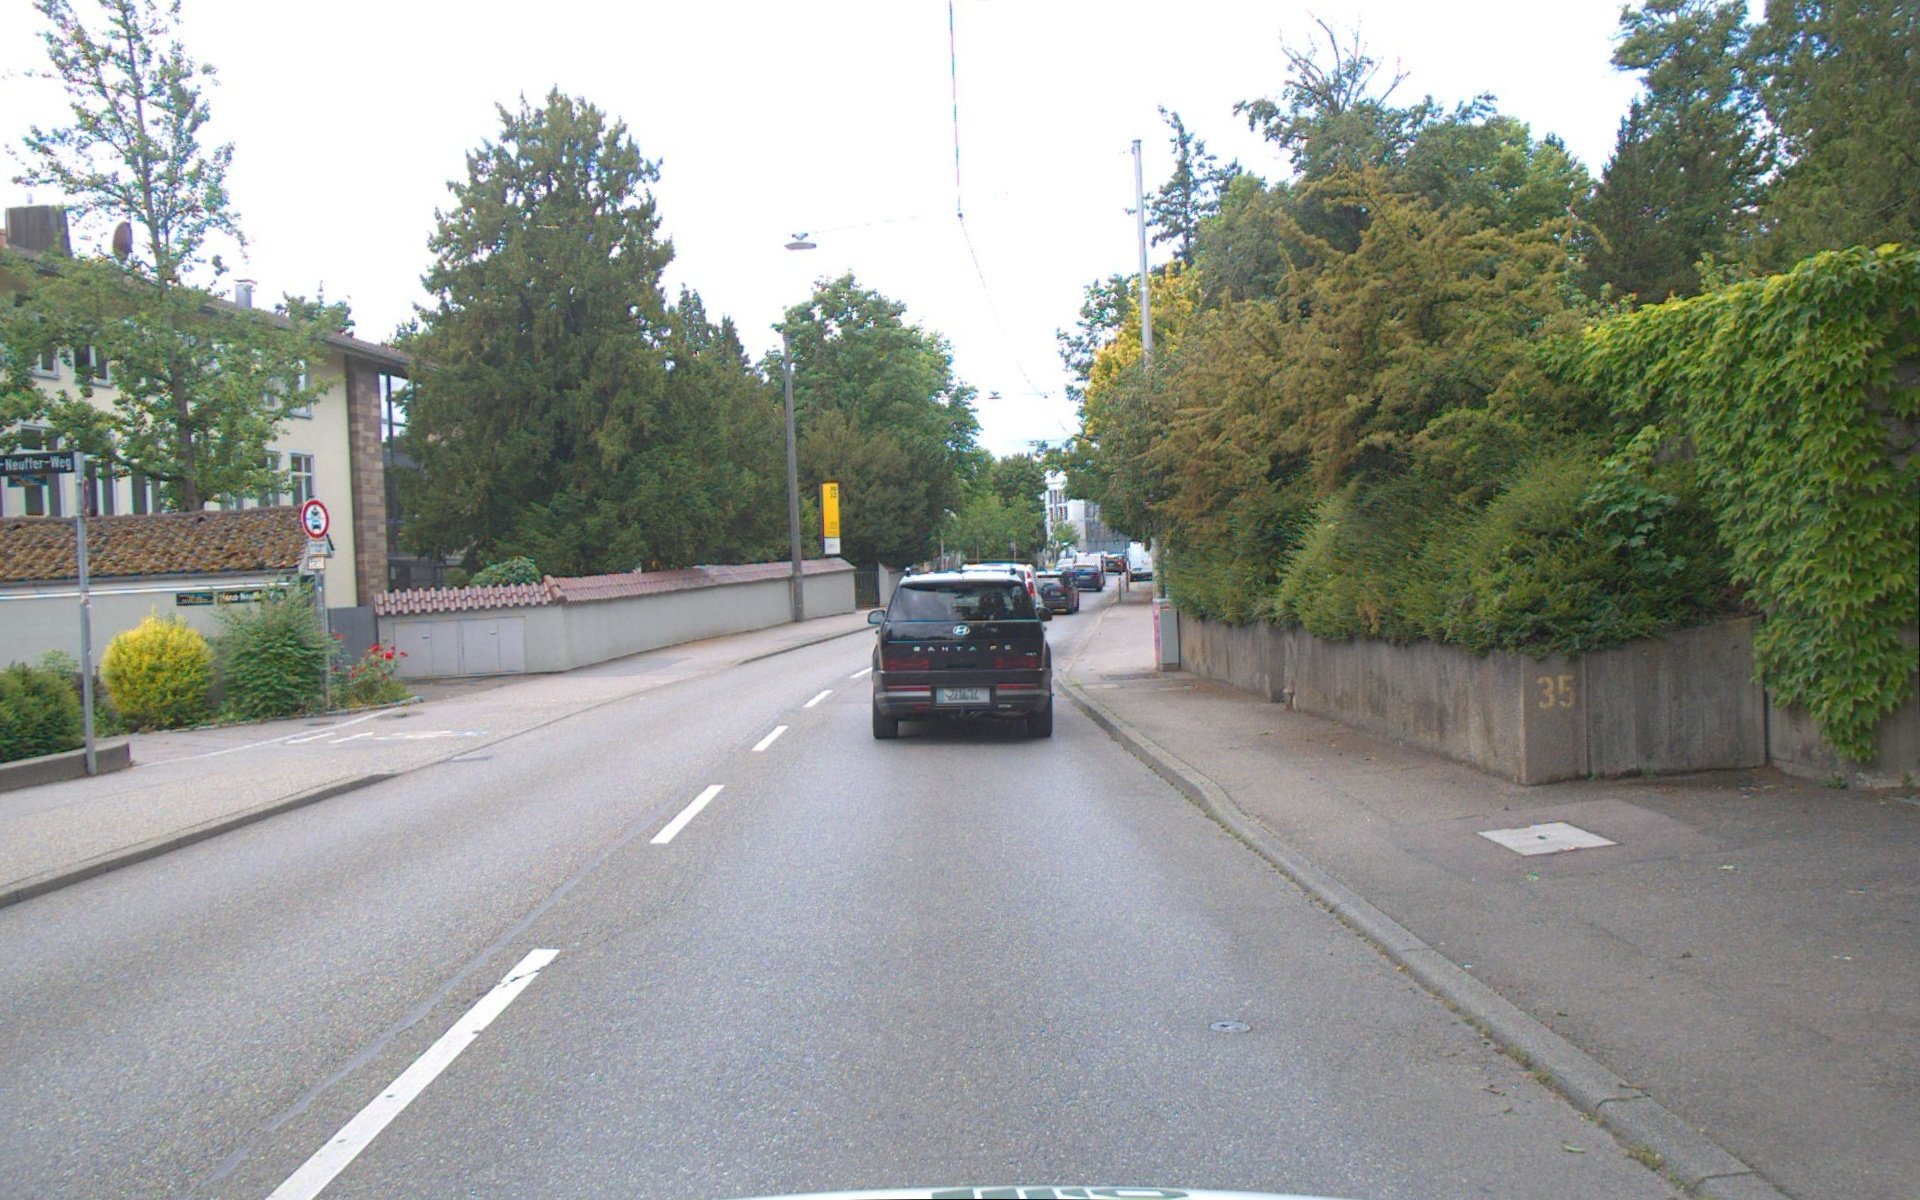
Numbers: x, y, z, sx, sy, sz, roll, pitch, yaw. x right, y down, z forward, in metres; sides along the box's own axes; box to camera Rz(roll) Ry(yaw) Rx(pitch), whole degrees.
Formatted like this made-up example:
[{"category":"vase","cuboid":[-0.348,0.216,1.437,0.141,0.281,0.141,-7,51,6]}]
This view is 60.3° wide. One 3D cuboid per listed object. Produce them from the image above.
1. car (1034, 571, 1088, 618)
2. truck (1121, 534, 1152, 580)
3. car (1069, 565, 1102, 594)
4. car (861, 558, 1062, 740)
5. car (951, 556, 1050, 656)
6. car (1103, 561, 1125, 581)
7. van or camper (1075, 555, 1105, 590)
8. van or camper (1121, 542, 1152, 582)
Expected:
[{"category":"car","cuboid":[3.546,-0.233,57.764,1.640,1.447,3.941,-2,2,6]},{"category":"truck","cuboid":[14.193,-3.477,132.738,2.232,3.499,5.982,-2,2,7]},{"category":"car","cuboid":[6.774,-1.129,89.254,1.640,1.447,3.941,-2,2,6]},{"category":"car","cuboid":[-0.022,0.461,18.084,1.917,1.743,4.222,1,0,-1]},{"category":"car","cuboid":[0.934,0.058,35.695,1.916,1.989,4.226,1,2,4]},{"category":"car","cuboid":[13.162,-2.496,141.192,1.640,1.568,3.941,-2,2,7]},{"category":"van or camper","cuboid":[8.103,-1.755,103.259,1.640,2.042,3.941,-2,2,7]},{"category":"van or camper","cuboid":[12.100,-2.617,113.221,2.000,2.622,5.254,-2,2,7]}]
